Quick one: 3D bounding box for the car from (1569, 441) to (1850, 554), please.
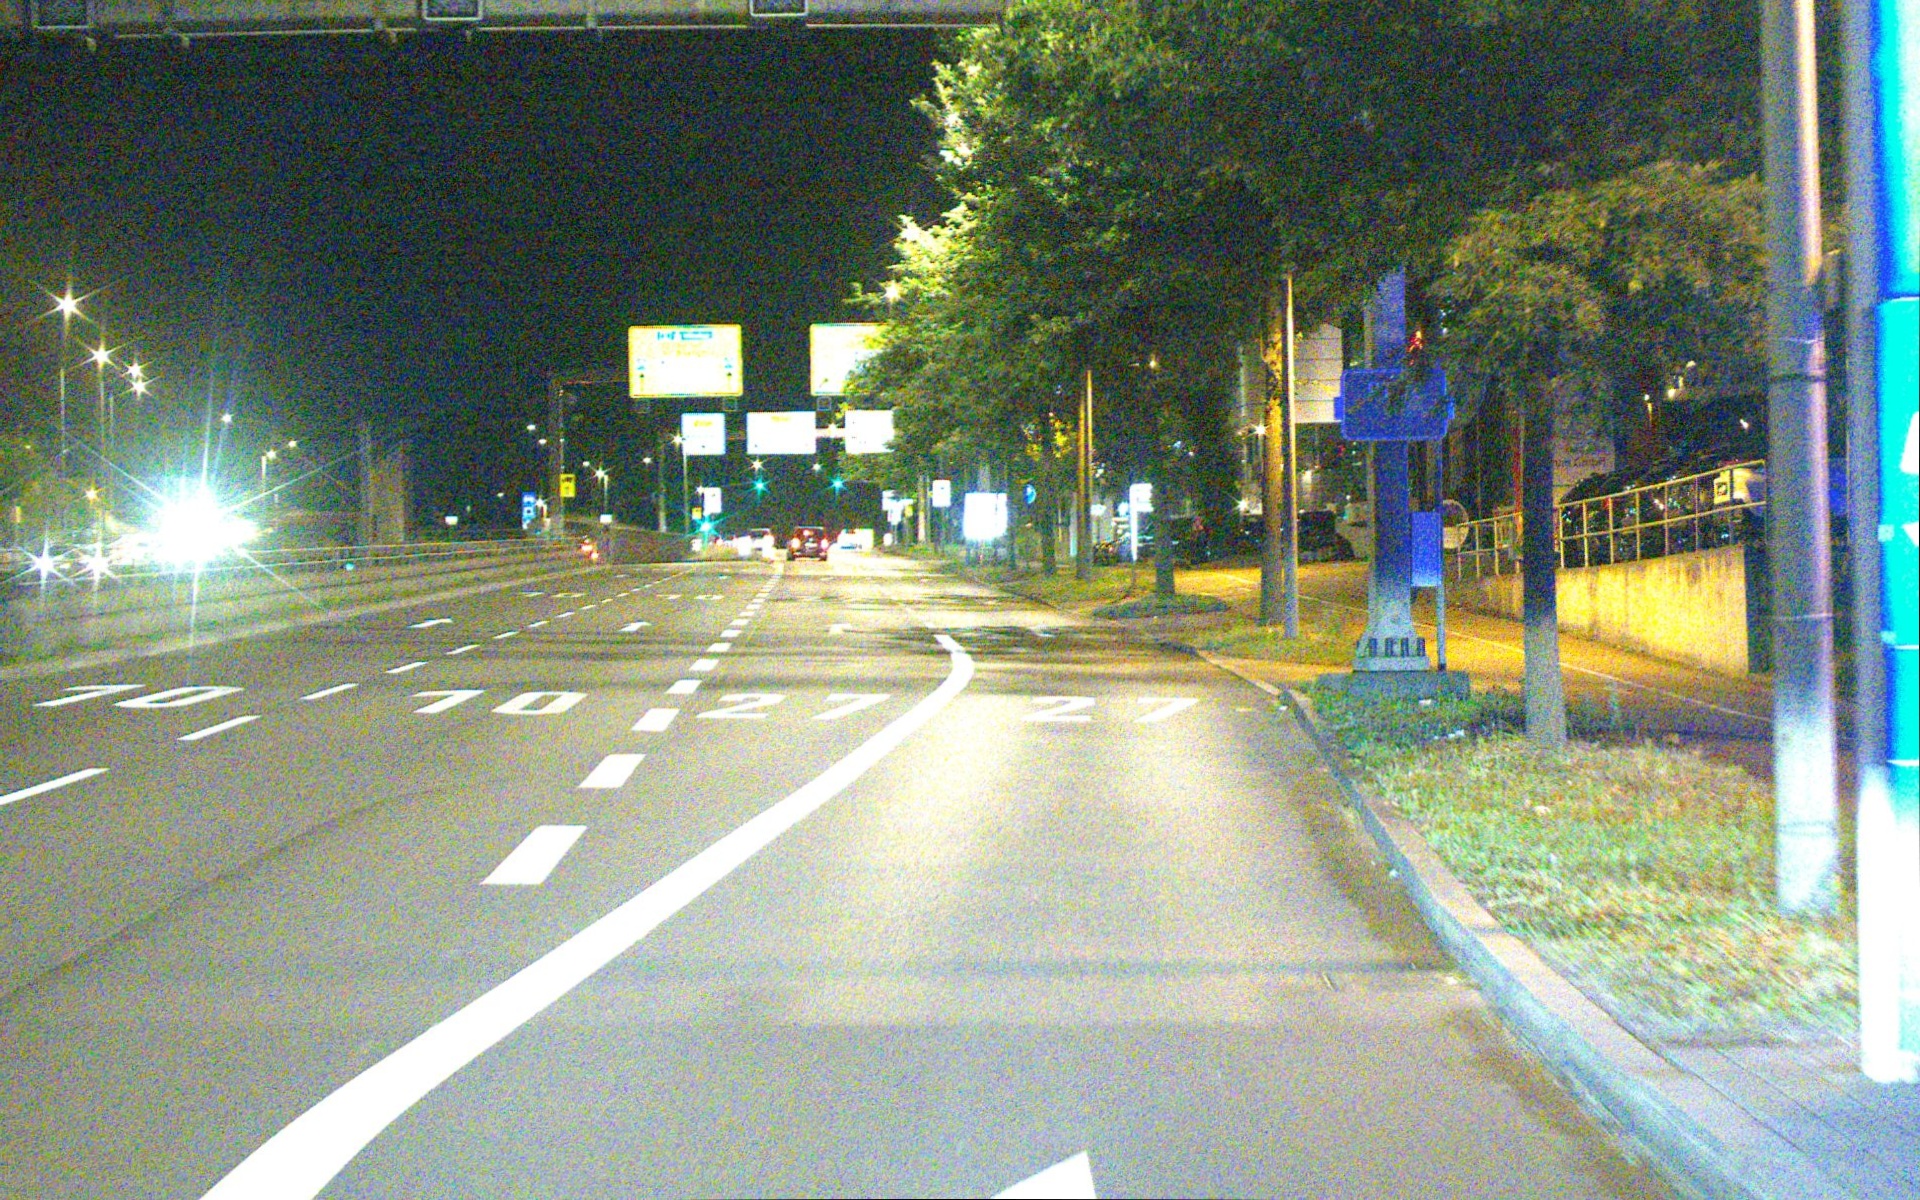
[{"bbox_3d":[11.227,-1.531,51.642,3.724,1.484,1.742,-2,0,-4],"label":"car"}]

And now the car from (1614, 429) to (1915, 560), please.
[{"bbox_3d":[11.475,-1.488,49.179,3.746,1.582,1.780,-3,-1,-3],"label":"car"}]

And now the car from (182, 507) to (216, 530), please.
[{"bbox_3d":[-53.790,-5.776,243.021,1.625,1.476,3.679,1,0,-2],"label":"car"}]

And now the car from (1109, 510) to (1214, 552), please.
[{"bbox_3d":[7.452,-2.554,127.228,3.623,1.446,1.708,1,0,-6],"label":"car"}]

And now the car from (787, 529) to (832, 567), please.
[{"bbox_3d":[-7.149,-2.469,163.931,1.968,1.705,4.000,1,0,0],"label":"car"}]

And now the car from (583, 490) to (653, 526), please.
[{"bbox_3d":[-17.433,-4.665,175.046,1.968,1.705,4.000,1,0,-31],"label":"car"}]

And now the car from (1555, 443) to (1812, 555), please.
[{"bbox_3d":[11.452,-1.590,54.563,3.561,1.564,1.727,-3,0,-6],"label":"car"}]

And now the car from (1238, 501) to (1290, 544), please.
[{"bbox_3d":[11.393,-2.909,129.125,1.893,1.506,3.635,1,0,5],"label":"car"}]

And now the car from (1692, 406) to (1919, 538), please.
[{"bbox_3d":[11.727,-1.661,44.344,4.119,1.517,1.822,-2,-1,0],"label":"car"}]

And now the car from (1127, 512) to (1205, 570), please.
[{"bbox_3d":[7.327,-2.076,121.940,1.995,1.938,3.997,1,0,15],"label":"car"}]

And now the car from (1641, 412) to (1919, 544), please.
[{"bbox_3d":[11.442,-1.652,46.632,3.987,1.566,1.738,-2,0,0],"label":"car"}]

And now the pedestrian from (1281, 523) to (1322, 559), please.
[{"bbox_3d":[9.911,-1.715,99.794,0.913,1.035,0.770,-1,0,41],"label":"pedestrian"}]

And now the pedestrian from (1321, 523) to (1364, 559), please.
[{"bbox_3d":[11.110,-1.711,99.782,0.997,1.004,0.772,1,0,-17],"label":"pedestrian"}]

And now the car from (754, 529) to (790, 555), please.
[{"bbox_3d":[-11.923,-3.675,217.978,2.005,1.546,4.295,1,0,0],"label":"car"}]
